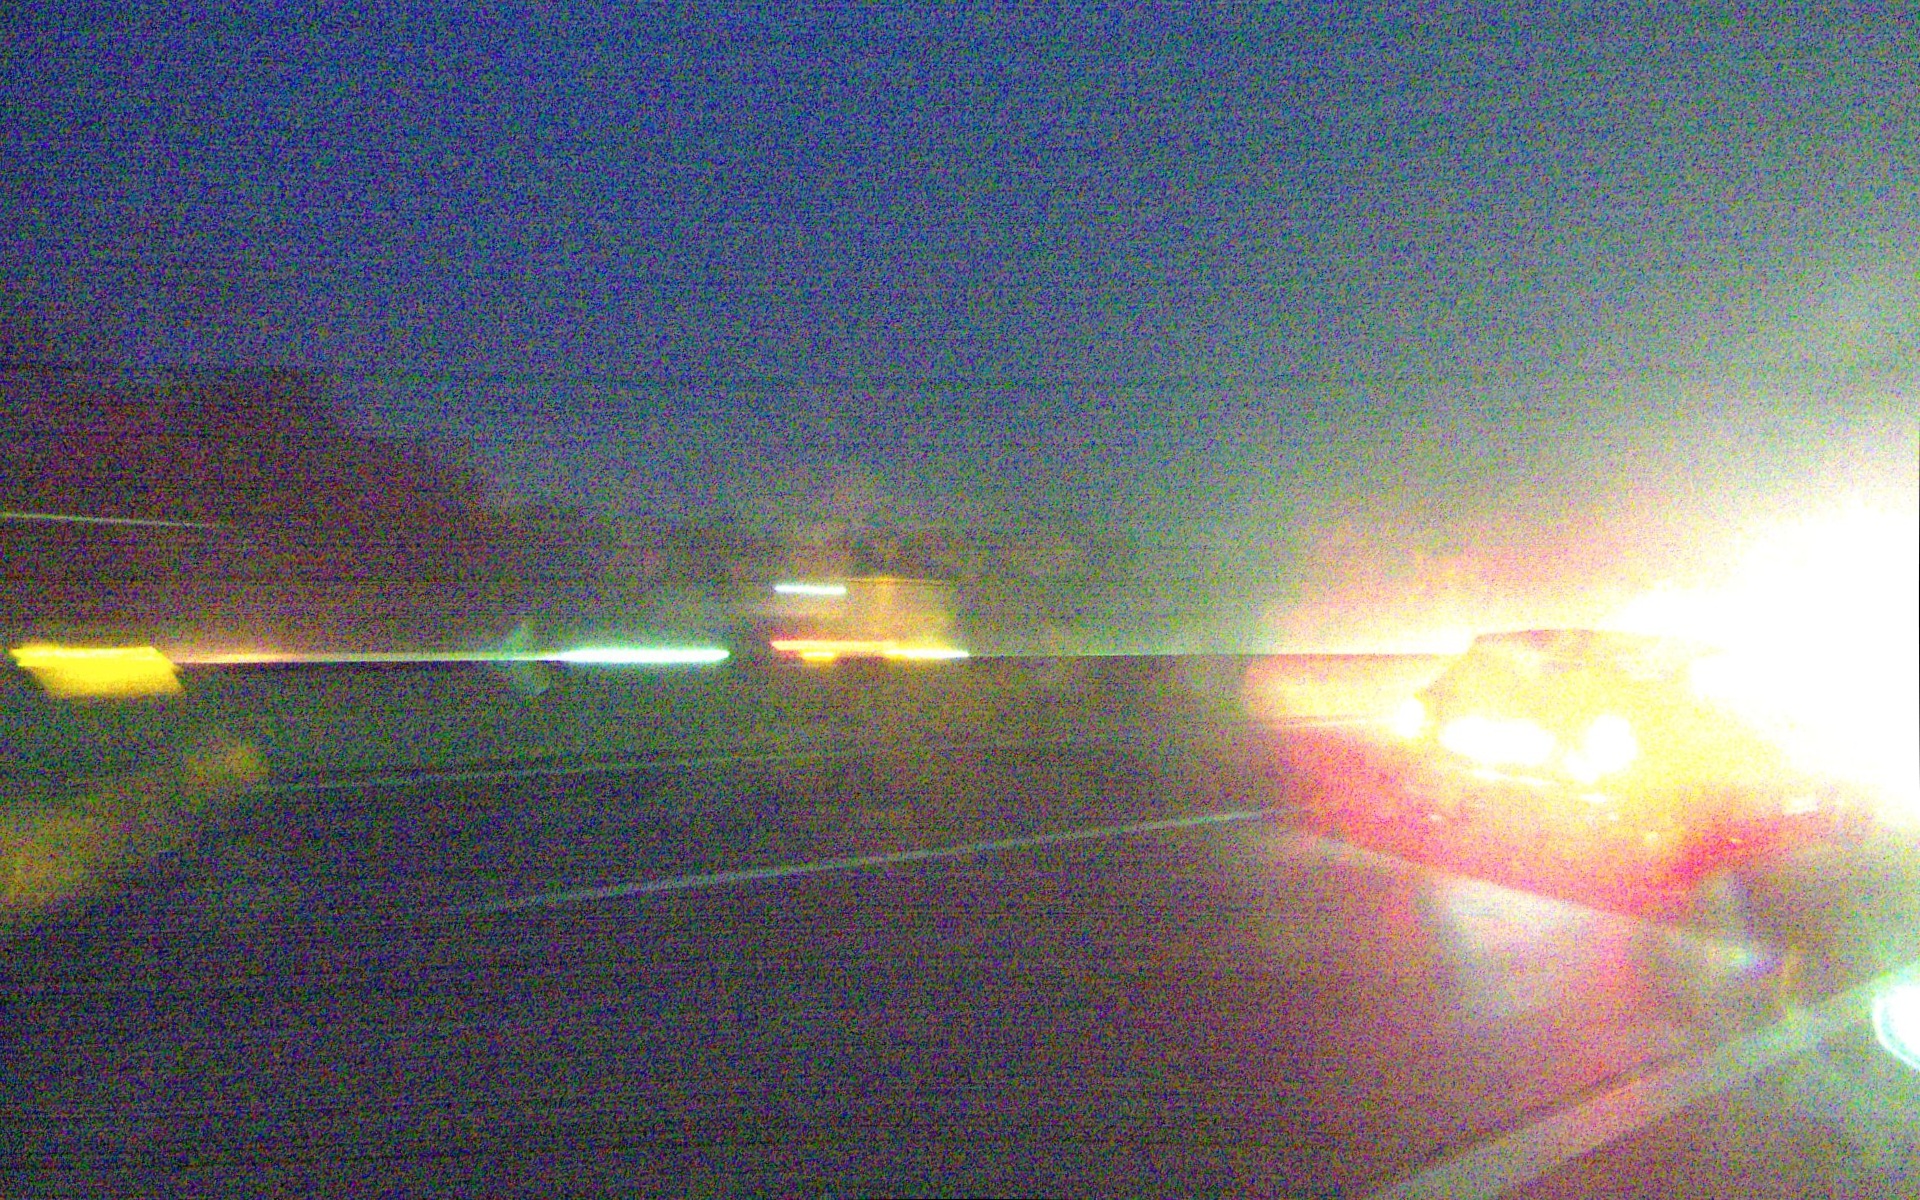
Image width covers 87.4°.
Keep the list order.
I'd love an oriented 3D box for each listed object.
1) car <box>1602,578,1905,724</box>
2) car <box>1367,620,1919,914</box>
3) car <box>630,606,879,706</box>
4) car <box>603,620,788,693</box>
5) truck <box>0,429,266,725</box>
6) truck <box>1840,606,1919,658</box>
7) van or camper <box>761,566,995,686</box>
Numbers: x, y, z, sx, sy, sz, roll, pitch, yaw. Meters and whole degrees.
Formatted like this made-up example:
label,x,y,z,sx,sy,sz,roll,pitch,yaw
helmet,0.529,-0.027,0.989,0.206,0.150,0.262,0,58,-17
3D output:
label,x,y,z,sx,sy,sz,roll,pitch,yaw
car,13.463,0.805,16.956,5.563,2.132,2.113,2,0,-30
car,4.845,0.903,6.902,4.199,1.450,1.647,1,0,-32
car,-4.160,1.114,20.592,4.701,1.822,1.656,2,0,-30
car,-6.579,1.393,25.074,4.156,1.649,1.668,2,0,-30
truck,-25.409,-0.656,21.393,17.101,6.497,3.207,2,0,-31
truck,57.636,2.019,62.402,6.624,3.039,2.439,2,0,-30
van or camper,-2.722,0.899,34.371,7.590,3.750,2.502,2,0,-30
